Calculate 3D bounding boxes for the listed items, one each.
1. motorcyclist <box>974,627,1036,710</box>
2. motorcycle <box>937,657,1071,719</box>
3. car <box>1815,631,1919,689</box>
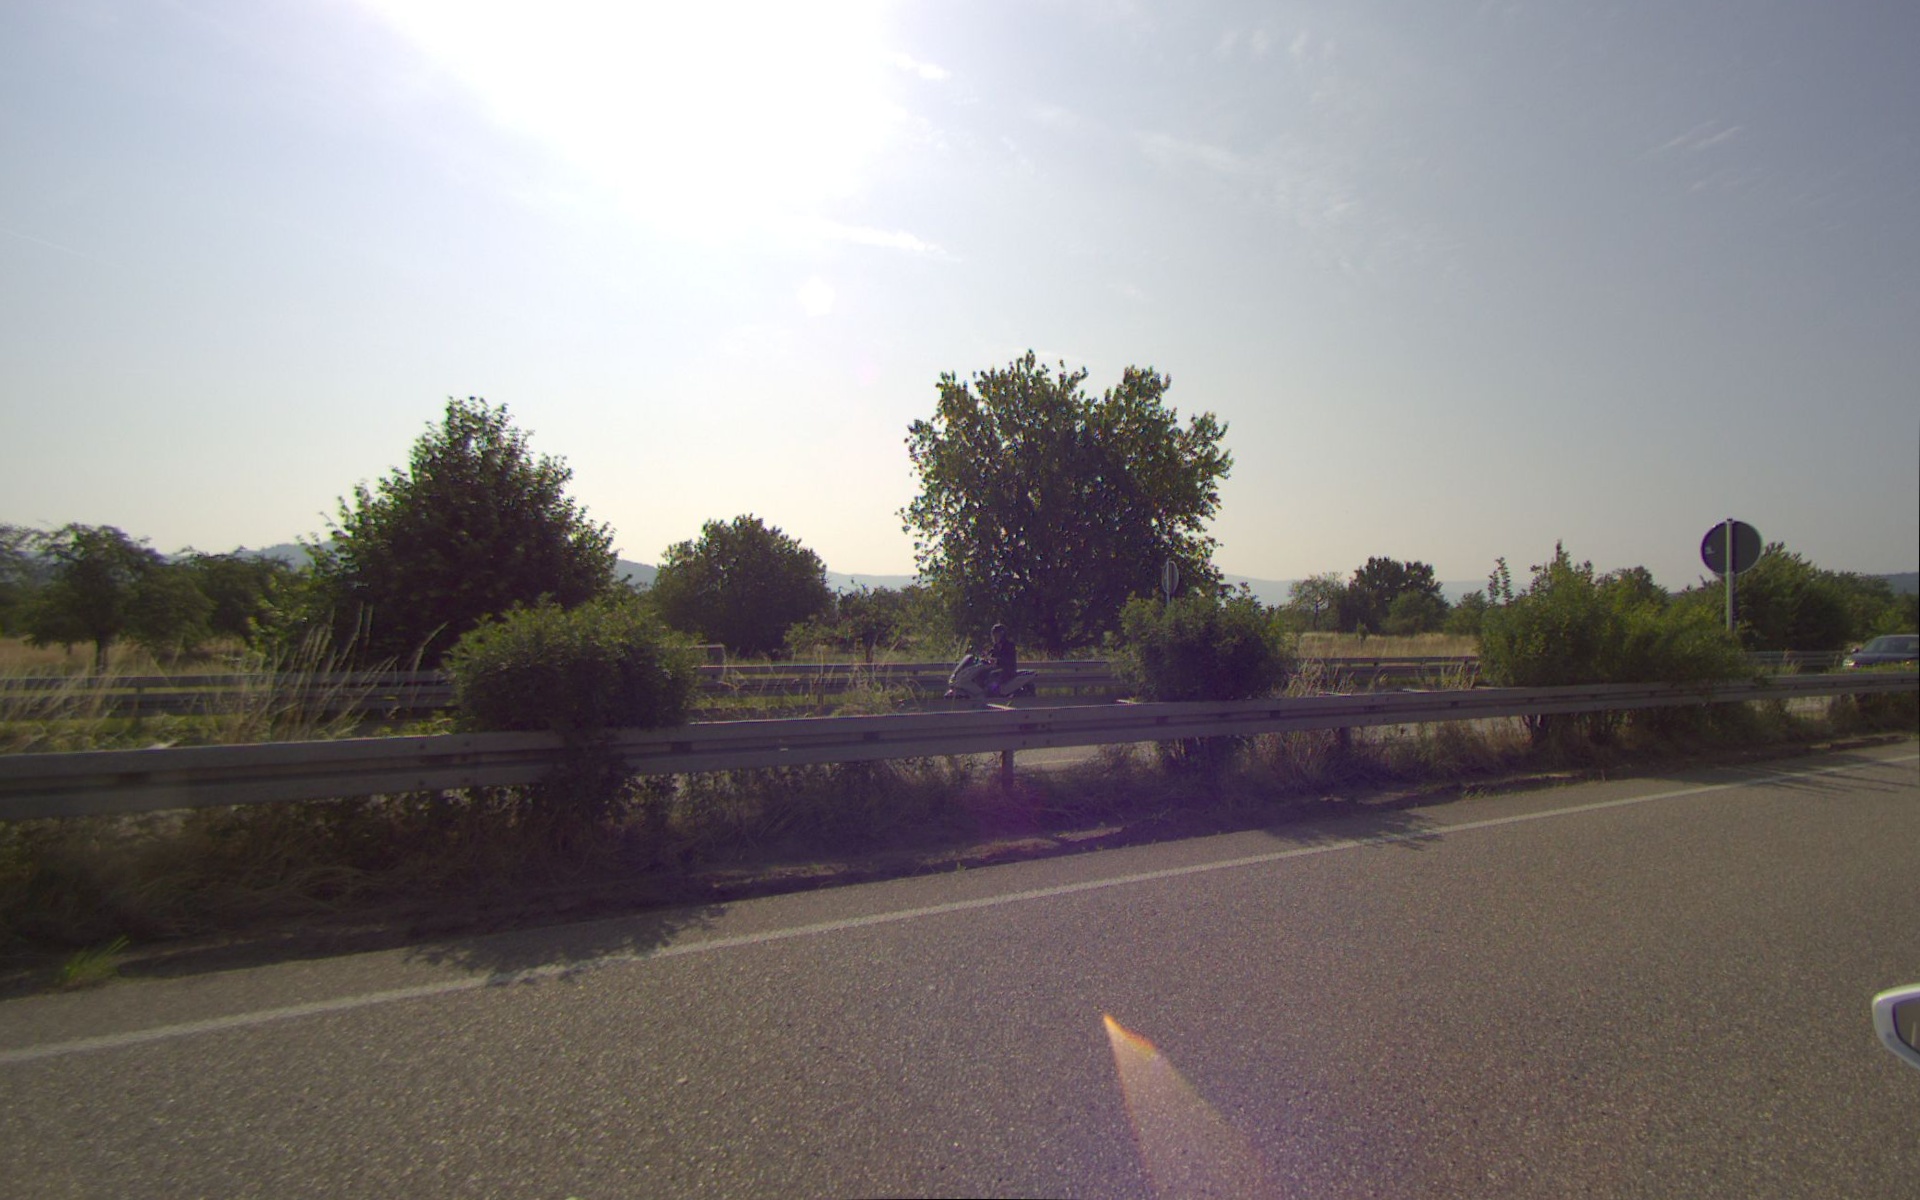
[{"bbox_3d":[0.759,1.156,17.027,0.798,1.365,0.701,1,-3,-30],"label":"motorcyclist"},{"bbox_3d":[0.760,1.467,17.020,2.257,0.976,0.701,1,-3,-30],"label":"motorcycle"},{"bbox_3d":[24.667,1.575,26.836,3.989,1.450,1.550,1,-2,-30],"label":"car"}]
